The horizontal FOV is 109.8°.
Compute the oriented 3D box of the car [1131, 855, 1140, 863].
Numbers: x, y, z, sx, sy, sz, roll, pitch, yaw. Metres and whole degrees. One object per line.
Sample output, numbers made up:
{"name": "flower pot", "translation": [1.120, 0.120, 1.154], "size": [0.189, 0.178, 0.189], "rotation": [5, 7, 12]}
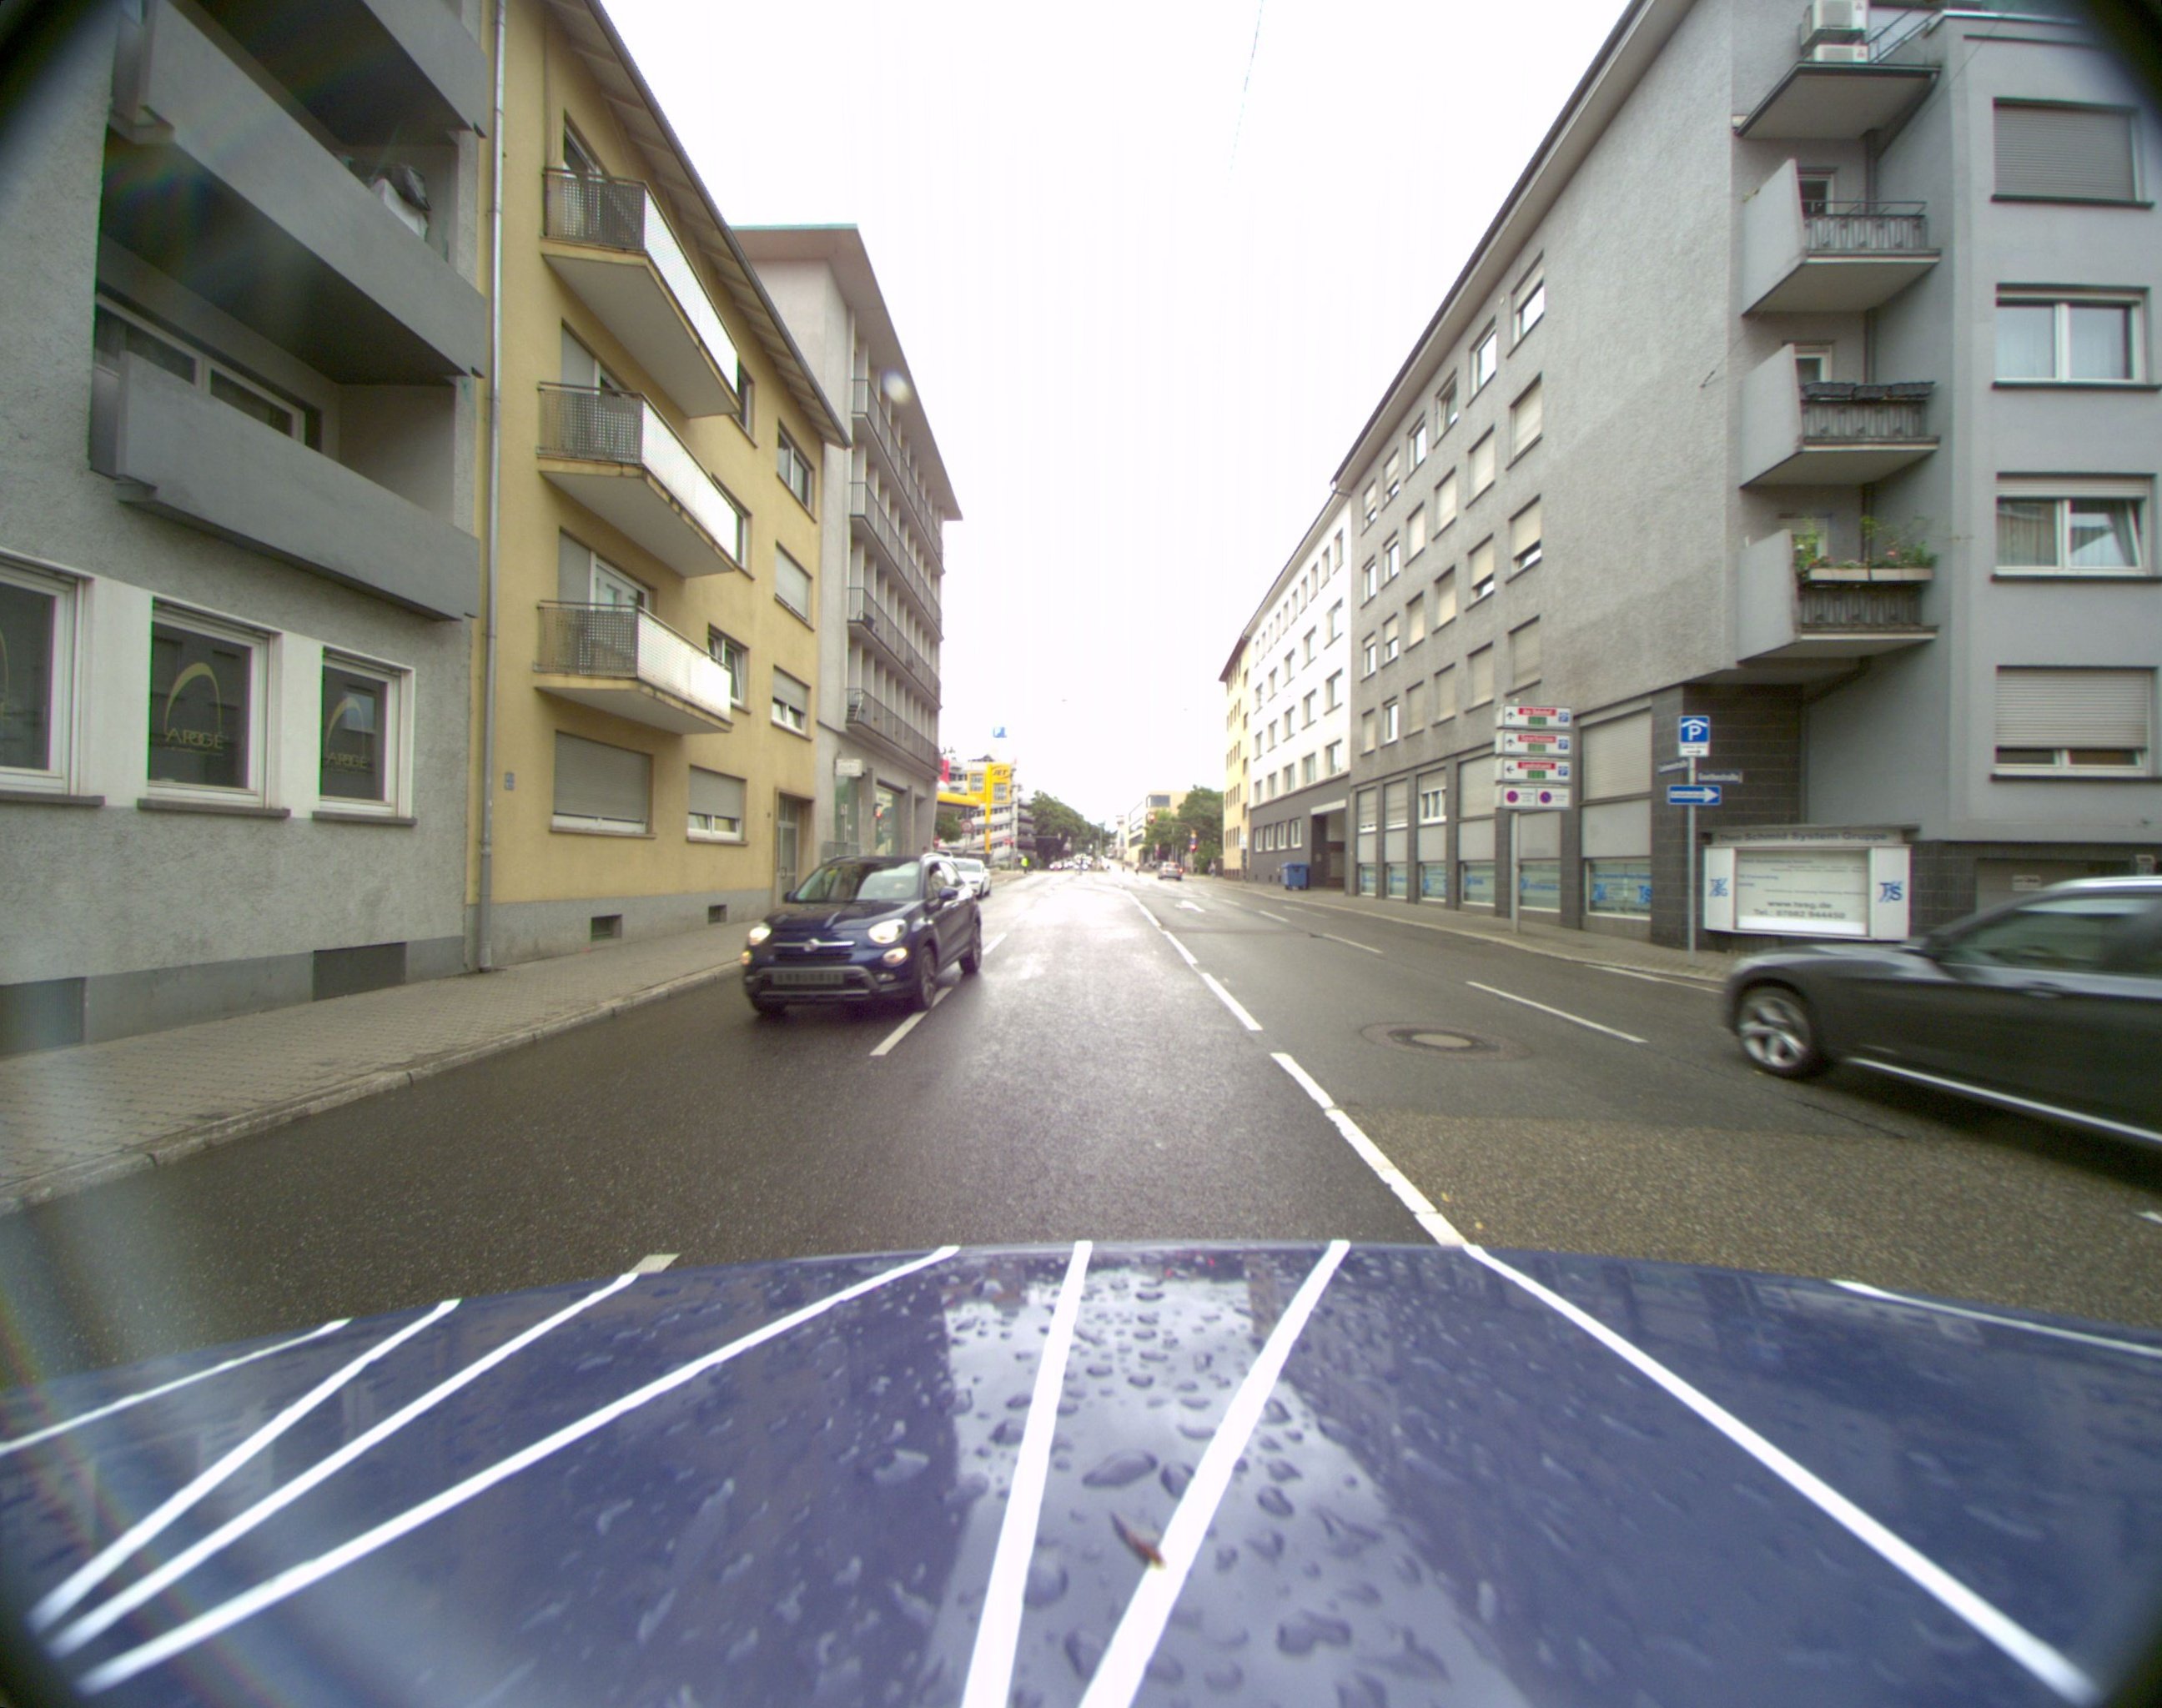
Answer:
{"name": "car", "translation": [12.656, 1.066, 177.393], "size": [1.998, 1.683, 4.000], "rotation": [-2, 1, 2]}

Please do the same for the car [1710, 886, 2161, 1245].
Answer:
{"name": "car", "translation": [5.727, 1.039, 3.769], "size": [1.707, 1.498, 4.159], "rotation": [3, 0, 0]}

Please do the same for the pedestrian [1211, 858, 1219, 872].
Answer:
{"name": "pedestrian", "translation": [11.377, 0.916, 64.388], "size": [0.582, 1.143, 0.407], "rotation": [3, 1, 15]}

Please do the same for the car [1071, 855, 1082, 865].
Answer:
{"name": "car", "translation": [-0.924, 1.189, 154.122], "size": [1.998, 2.002, 3.999], "rotation": [-2, 1, 0]}

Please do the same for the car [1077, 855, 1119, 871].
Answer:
{"name": "car", "translation": [1.663, 0.846, 74.141], "size": [3.996, 1.499, 1.738], "rotation": [1, 1, 2]}

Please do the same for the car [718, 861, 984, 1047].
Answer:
{"name": "car", "translation": [-2.293, 0.908, 8.738], "size": [1.771, 1.571, 4.000], "rotation": [-1, 0, 1]}

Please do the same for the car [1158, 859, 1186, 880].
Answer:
{"name": "car", "translation": [7.408, 1.268, 62.139], "size": [1.883, 1.580, 4.373], "rotation": [0, 0, 1]}

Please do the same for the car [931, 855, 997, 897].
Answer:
{"name": "car", "translation": [-4.372, 0.799, 29.072], "size": [1.803, 1.427, 4.166], "rotation": [1, 0, 1]}

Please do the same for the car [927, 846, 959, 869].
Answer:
{"name": "car", "translation": [-9.441, 0.246, 52.208], "size": [1.771, 1.465, 3.998], "rotation": [-2, 0, -5]}

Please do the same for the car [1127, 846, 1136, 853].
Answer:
{"name": "car", "translation": [12.833, -1.040, 192.901], "size": [1.998, 1.683, 4.000], "rotation": [-2, 1, 2]}

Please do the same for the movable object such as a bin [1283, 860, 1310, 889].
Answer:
{"name": "movable object such as a bin", "translation": [10.415, 1.005, 36.790], "size": [0.946, 1.325, 1.096], "rotation": [-3, 1, 1]}

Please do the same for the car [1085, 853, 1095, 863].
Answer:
{"name": "car", "translation": [1.908, 0.815, 157.859], "size": [1.998, 1.736, 3.999], "rotation": [-2, 1, 1]}

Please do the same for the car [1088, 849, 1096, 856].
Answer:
{"name": "car", "translation": [3.083, -0.481, 213.396], "size": [1.998, 2.002, 3.999], "rotation": [-2, 1, 1]}

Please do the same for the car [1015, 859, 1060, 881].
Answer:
{"name": "car", "translation": [-3.896, 1.424, 68.308], "size": [3.930, 1.706, 1.902], "rotation": [-3, 0, -2]}

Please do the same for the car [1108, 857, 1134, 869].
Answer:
{"name": "car", "translation": [6.362, 1.386, 120.223], "size": [3.995, 1.736, 2.000], "rotation": [-2, 1, 5]}

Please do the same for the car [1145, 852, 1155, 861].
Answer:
{"name": "car", "translation": [15.432, 0.649, 170.062], "size": [1.998, 1.863, 3.999], "rotation": [-2, 1, 0]}

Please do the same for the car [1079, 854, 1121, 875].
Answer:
{"name": "car", "translation": [1.795, 0.979, 71.404], "size": [3.794, 1.823, 1.692], "rotation": [-3, 0, 2]}

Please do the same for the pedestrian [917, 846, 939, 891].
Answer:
{"name": "pedestrian", "translation": [-6.064, 0.558, 30.163], "size": [0.679, 1.745, 0.888], "rotation": [1, 1, 2]}
